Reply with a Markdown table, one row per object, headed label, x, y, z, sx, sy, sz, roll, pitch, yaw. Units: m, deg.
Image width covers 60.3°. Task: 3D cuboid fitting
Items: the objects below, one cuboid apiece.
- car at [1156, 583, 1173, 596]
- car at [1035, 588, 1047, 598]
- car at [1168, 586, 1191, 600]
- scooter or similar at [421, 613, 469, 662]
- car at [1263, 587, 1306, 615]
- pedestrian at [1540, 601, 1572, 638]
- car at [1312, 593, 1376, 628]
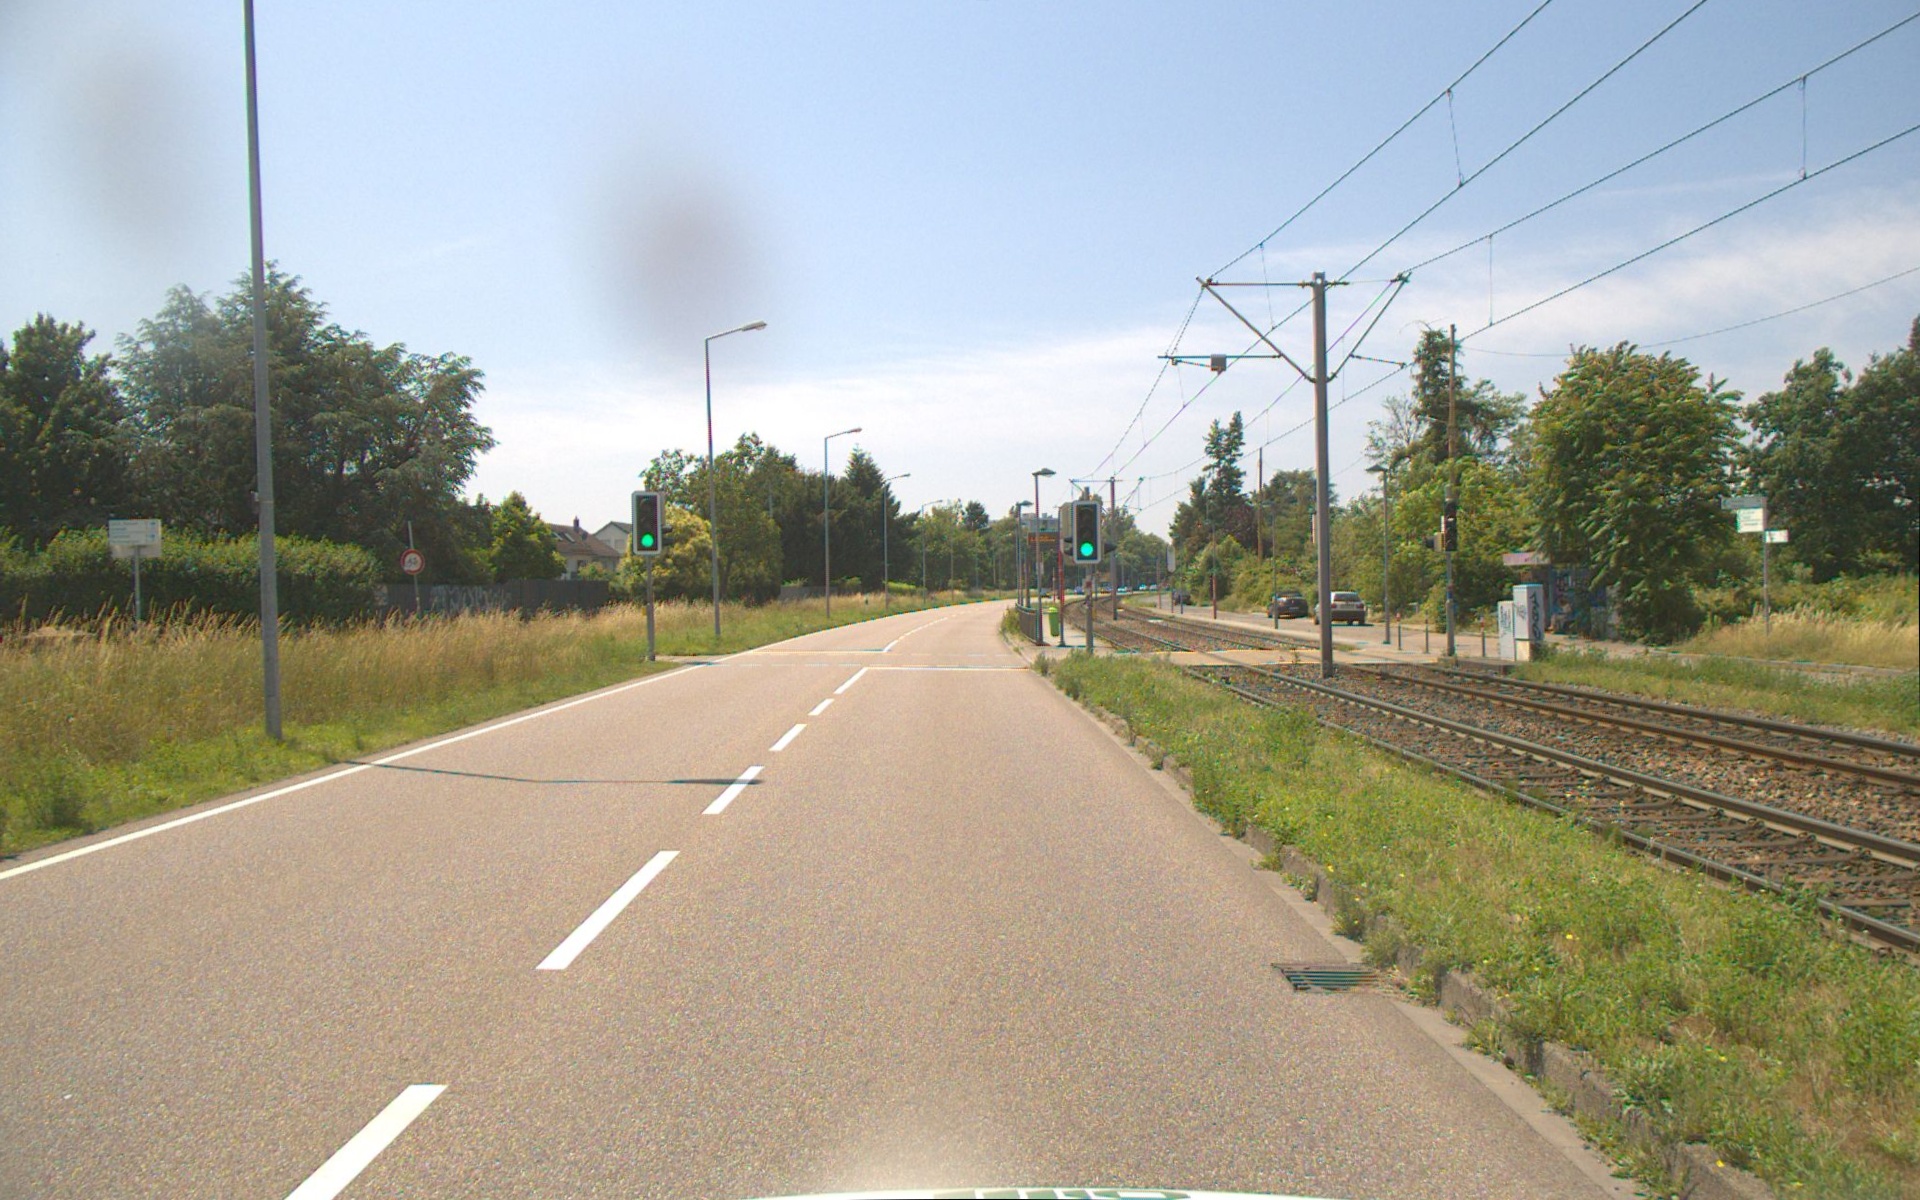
| label | x | y | z | sx | sy | sz | roll | pitch | yaw |
| --- | --- | --- | --- | --- | --- | --- | --- | --- | --- |
| car | 23.825 | -1.267 | 192.639 | 1.873 | 1.496 | 4.003 | 0 | 0 | 6 |
| car | 12.337 | -1.067 | 252.879 | 1.670 | 1.429 | 4.710 | 0 | 0 | 4 |
| car | 21.103 | -0.649 | 159.119 | 1.822 | 1.353 | 4.517 | 0 | 0 | 3 |
| scooter or similar | -12.523 | 0.917 | 40.252 | 0.999 | 1.147 | 0.647 | -1 | 0 | -10 |
| car | 17.536 | 0.048 | 89.636 | 1.586 | 1.447 | 4.874 | 0 | 0 | 2 |
| pedestrian | 18.341 | 0.592 | 50.904 | 0.791 | 1.106 | 0.719 | -1 | 0 | 9 |
| car | 16.328 | 0.430 | 70.537 | 1.899 | 1.447 | 4.001 | 0 | 0 | 2 |
